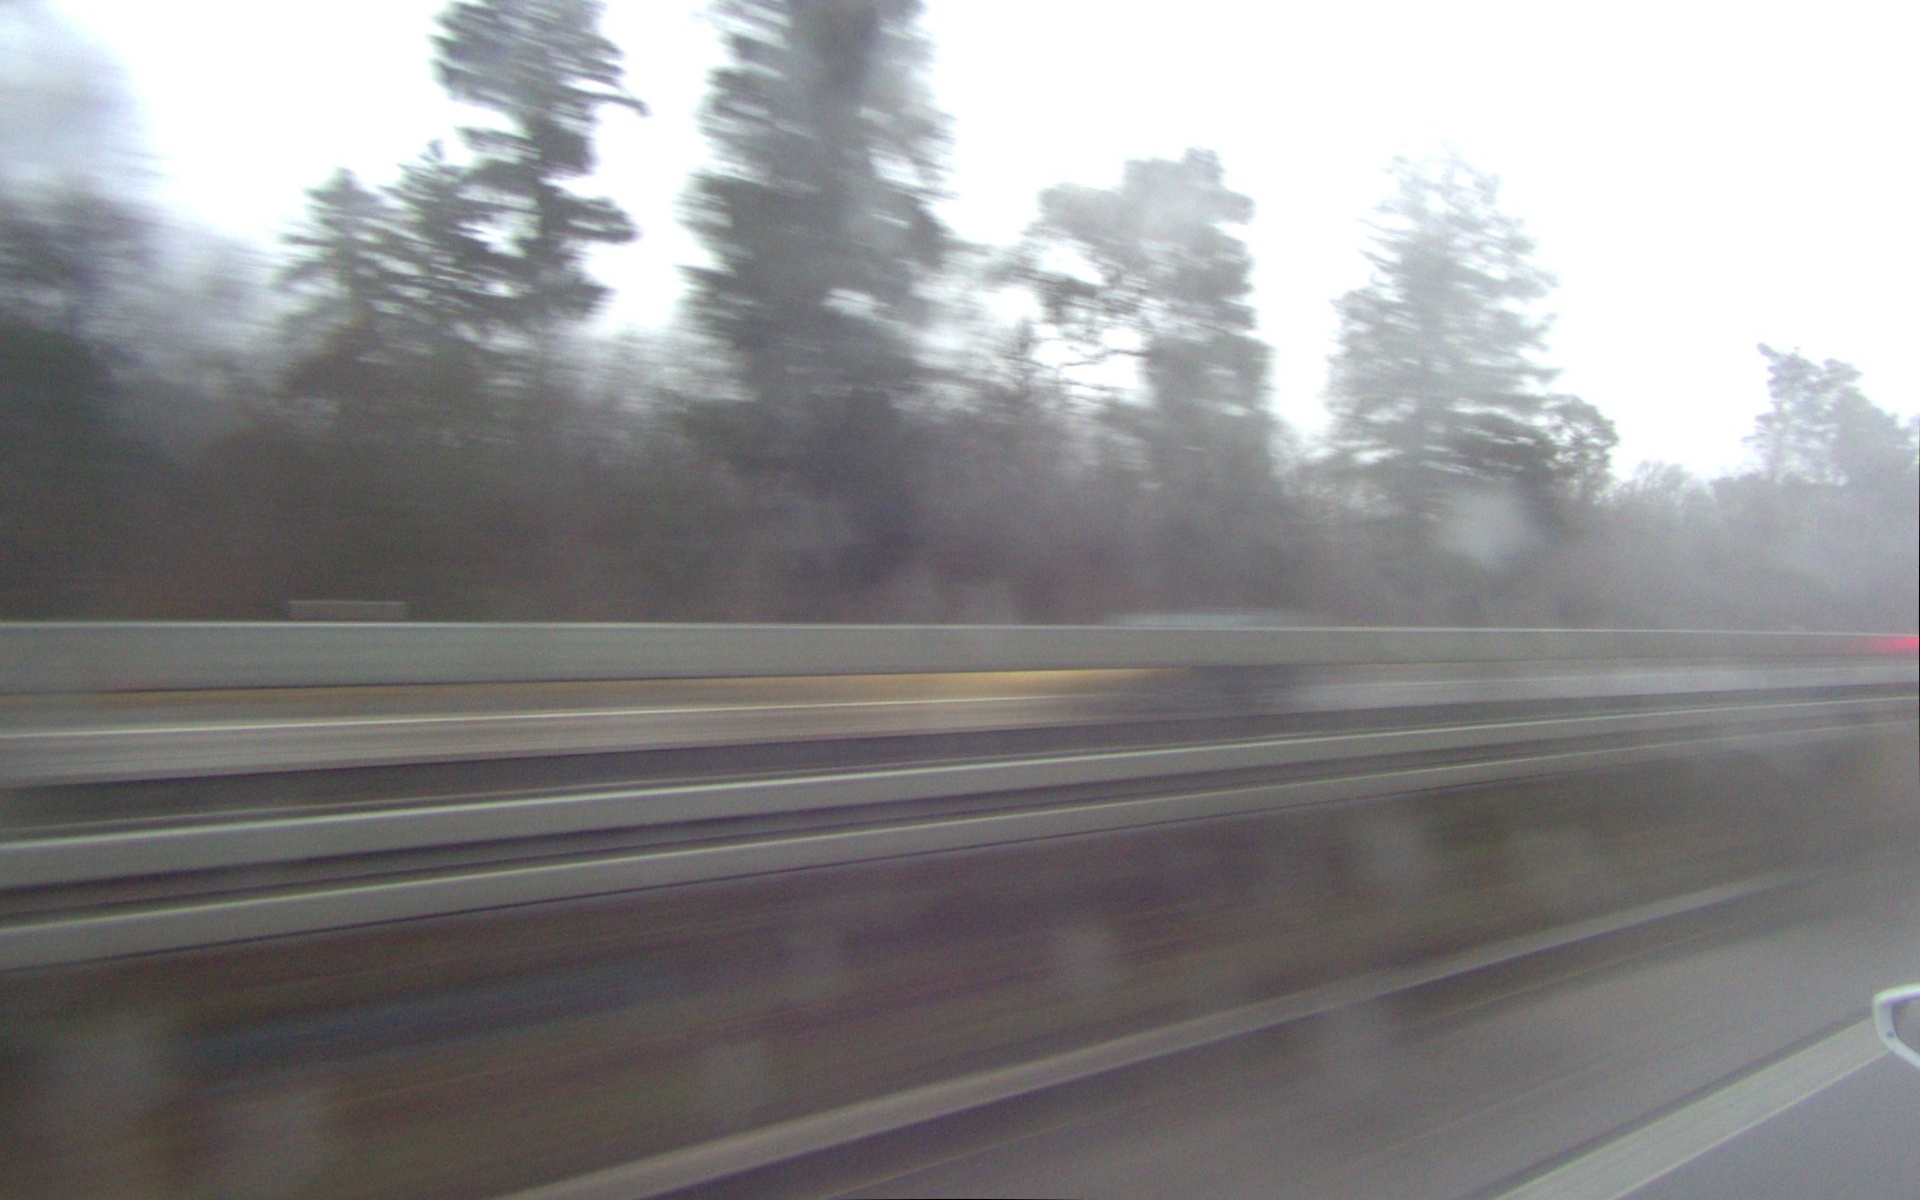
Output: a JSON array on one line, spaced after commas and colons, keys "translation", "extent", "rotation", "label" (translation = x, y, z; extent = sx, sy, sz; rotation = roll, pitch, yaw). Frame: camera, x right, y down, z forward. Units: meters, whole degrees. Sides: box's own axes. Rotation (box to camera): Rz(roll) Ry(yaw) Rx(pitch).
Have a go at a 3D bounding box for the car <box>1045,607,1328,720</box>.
[{"translation": [3.301, 0.844, 14.423], "extent": [3.938, 1.407, 1.666], "rotation": [1, 0, -32], "label": "car"}]
